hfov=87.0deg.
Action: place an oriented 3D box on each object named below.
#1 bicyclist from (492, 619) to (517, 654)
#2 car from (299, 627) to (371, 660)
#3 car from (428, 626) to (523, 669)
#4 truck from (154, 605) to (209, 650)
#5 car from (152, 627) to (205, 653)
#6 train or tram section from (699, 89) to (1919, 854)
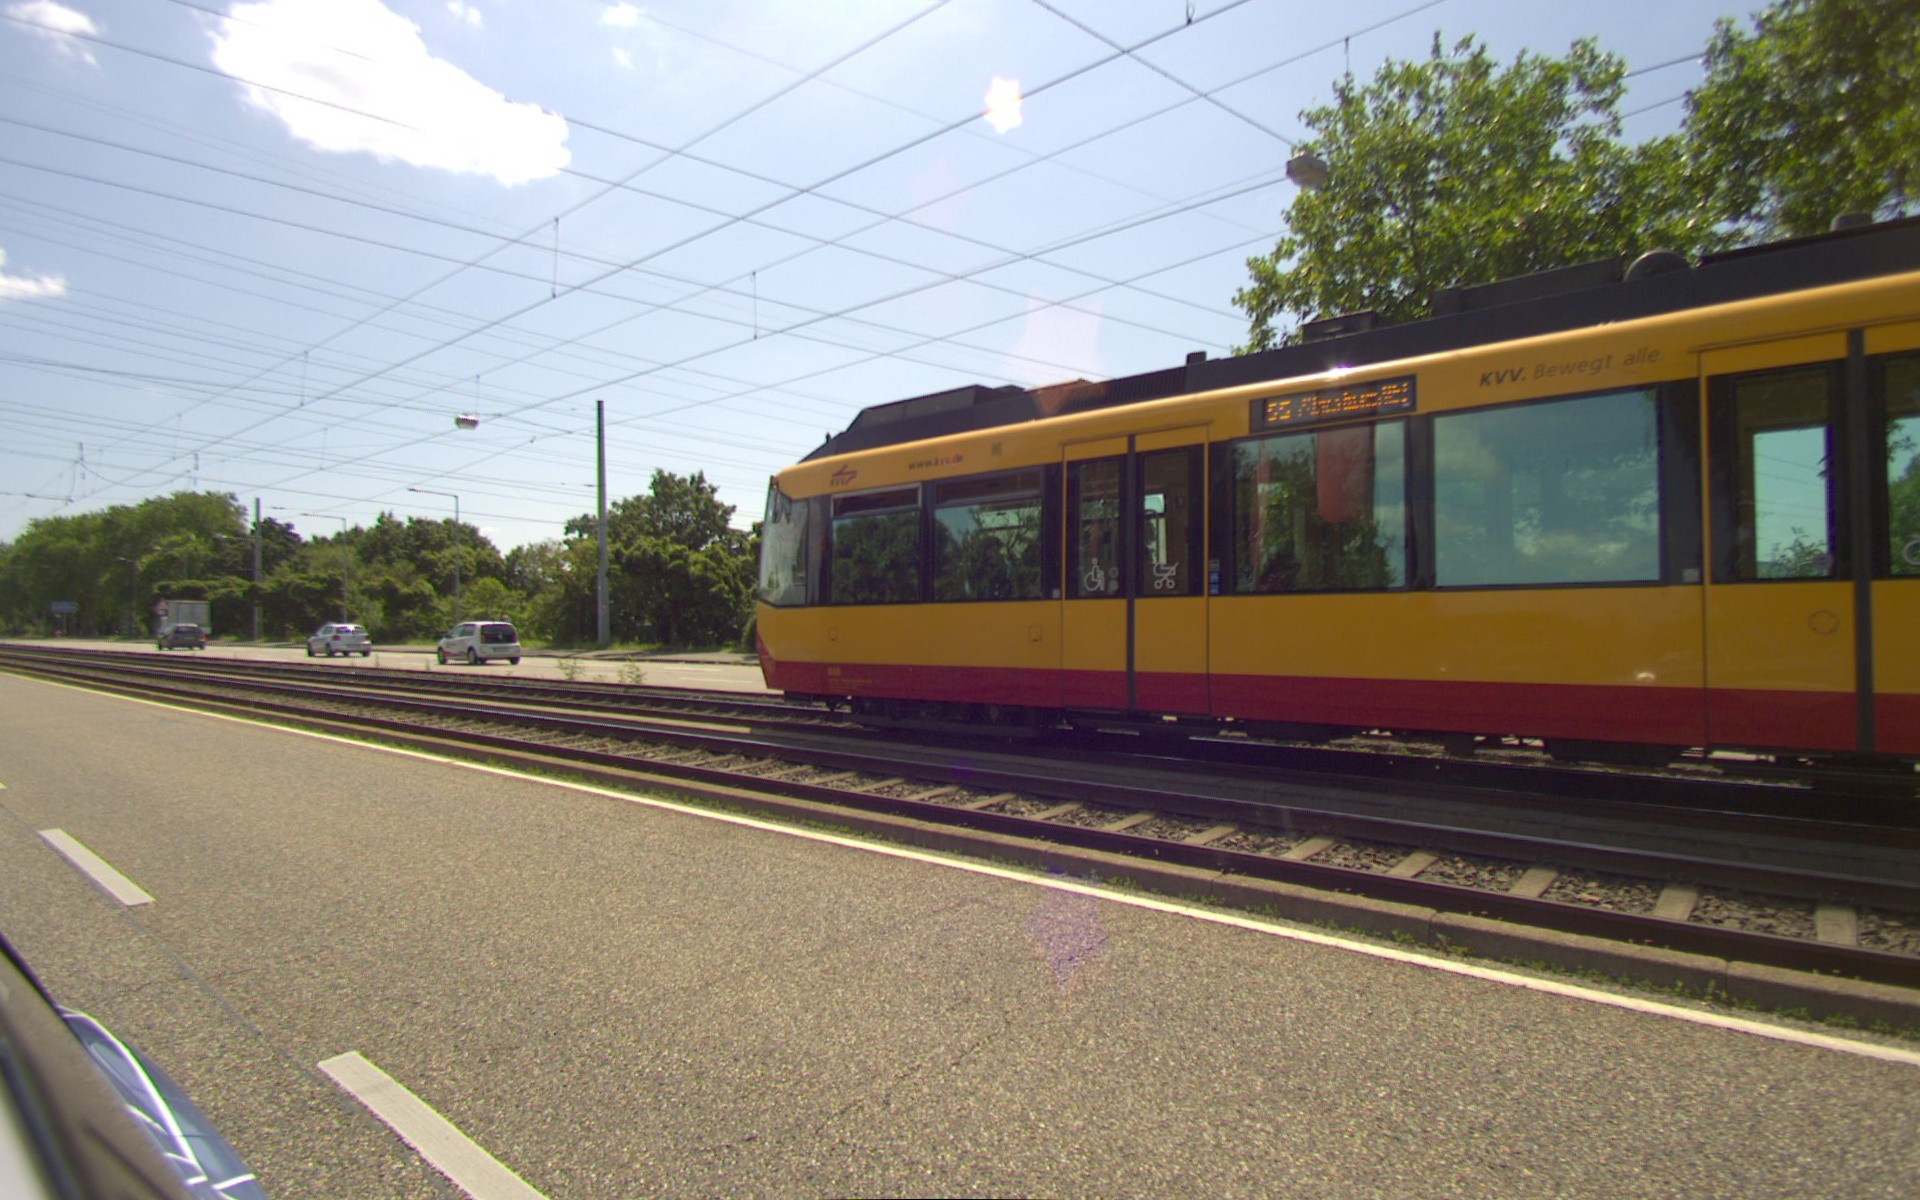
[{"bbox_3d":[-21.440,1.707,47.588,1.156,1.632,0.643,-2,0,45],"label":"bicyclist"},{"bbox_3d":[-28.204,1.953,45.630,4.125,1.432,1.619,-2,-2,42],"label":"car"},{"bbox_3d":[-16.917,1.631,35.286,3.718,1.447,1.620,-2,-3,40],"label":"car"},{"bbox_3d":[-58.146,2.056,75.532,6.040,3.261,2.225,-2,-2,42],"label":"truck"},{"bbox_3d":[-47.490,2.399,61.449,3.954,1.547,1.734,-2,-2,40],"label":"car"},{"bbox_3d":[3.318,-0.625,9.512,15.414,4.300,3.016,-2,-1,41],"label":"train or tram section"}]
